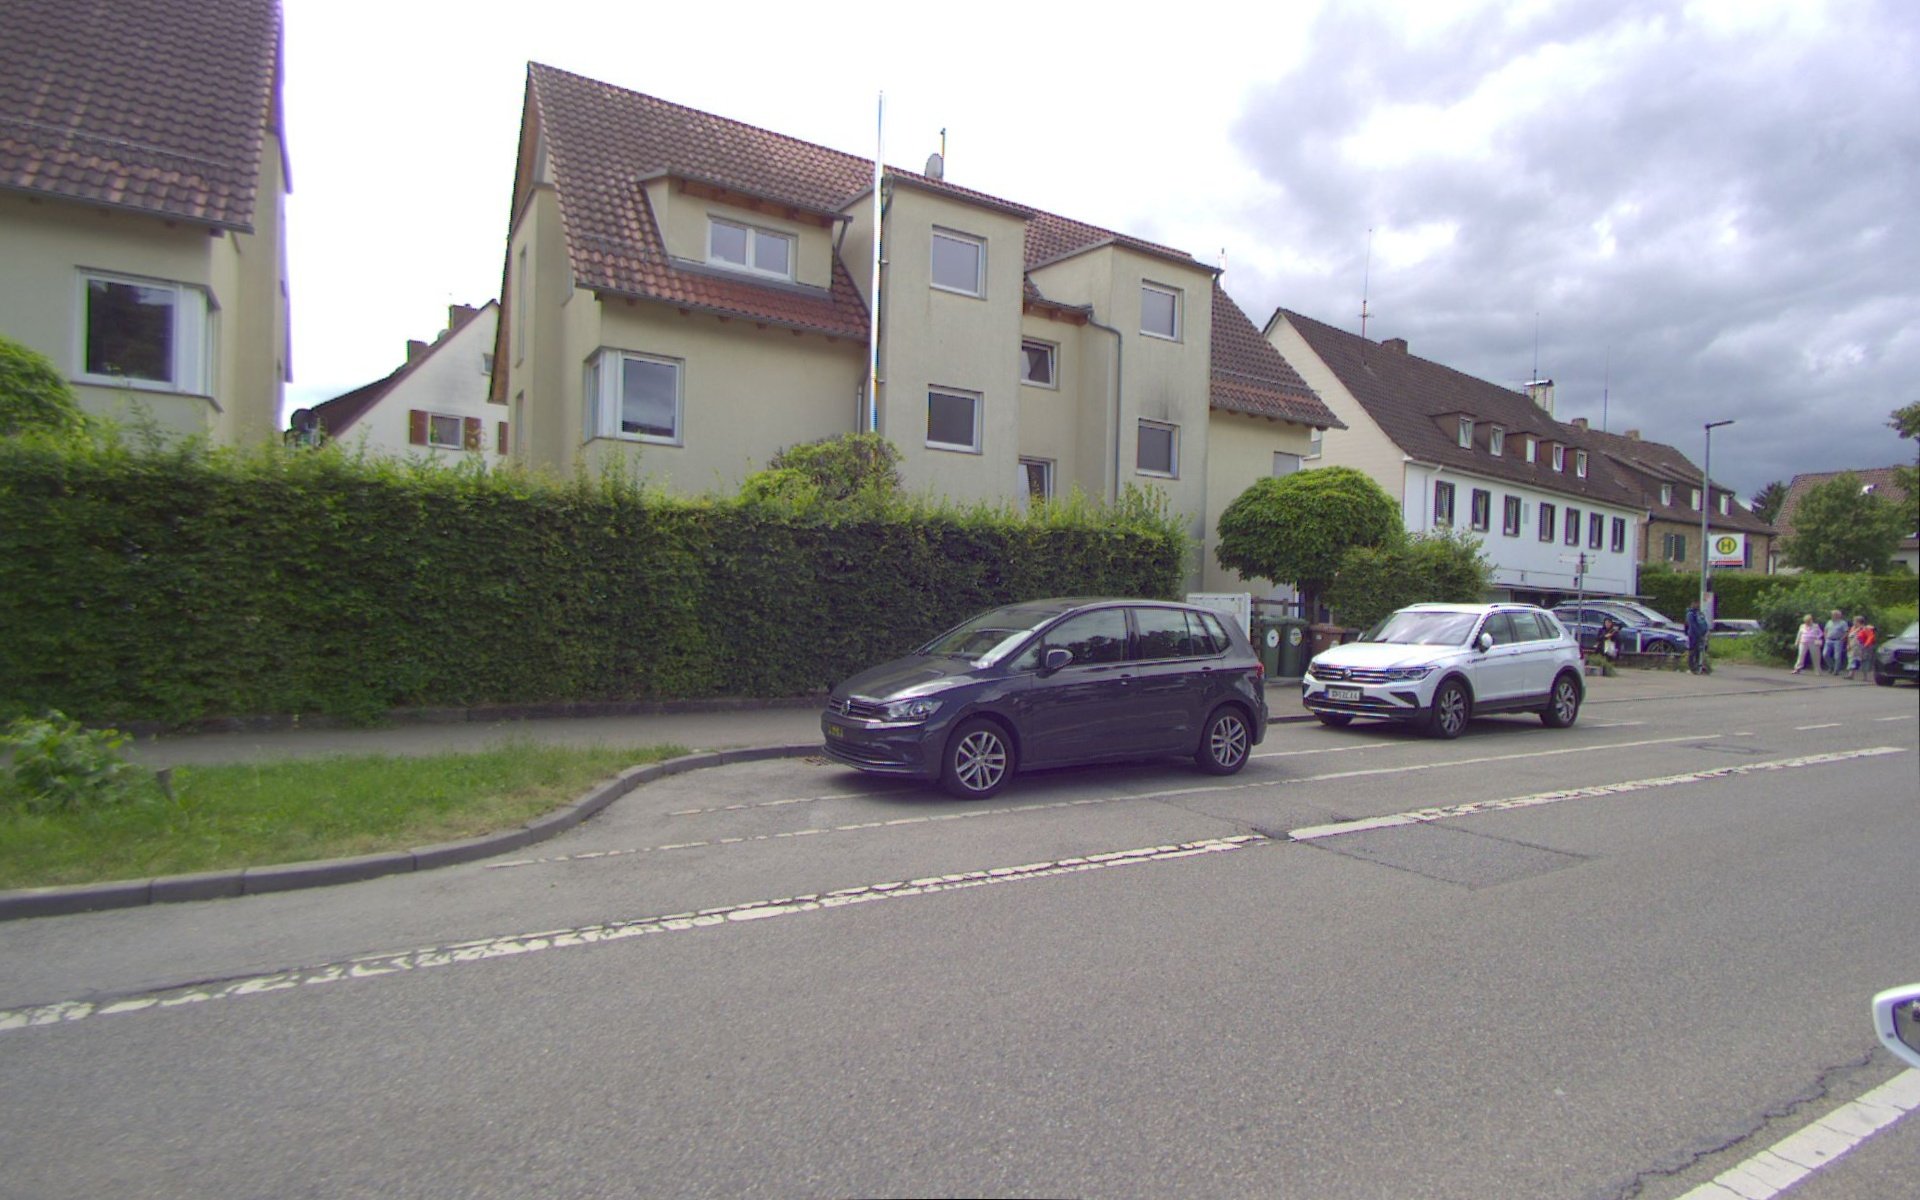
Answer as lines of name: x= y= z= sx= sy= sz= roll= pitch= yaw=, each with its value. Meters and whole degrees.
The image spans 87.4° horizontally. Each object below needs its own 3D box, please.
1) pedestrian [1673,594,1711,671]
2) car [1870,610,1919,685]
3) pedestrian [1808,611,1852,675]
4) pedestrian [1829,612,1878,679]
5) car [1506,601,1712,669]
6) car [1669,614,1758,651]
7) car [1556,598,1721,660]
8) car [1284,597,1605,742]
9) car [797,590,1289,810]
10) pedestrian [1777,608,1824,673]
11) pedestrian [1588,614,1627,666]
pedestrian: x=17.723 y=0.785 z=24.321 sx=0.664 sy=1.830 sz=0.501 roll=1 pitch=0 yaw=-30
car: x=24.516 y=1.177 z=24.920 sx=4.514 sy=1.748 sz=1.714 roll=1 pitch=0 yaw=-32
pedestrian: x=23.588 y=1.144 z=27.244 sx=0.586 sy=1.686 sz=0.781 roll=1 pitch=0 yaw=-37
pedestrian: x=23.143 y=1.156 z=26.023 sx=0.747 sy=1.686 sz=0.781 roll=1 pitch=1 yaw=-37
car: x=17.809 y=0.902 z=27.698 sx=4.464 sy=1.574 sz=2.024 roll=3 pitch=1 yaw=44
car: x=32.299 y=1.378 z=43.096 sx=1.286 sy=1.461 sz=2.807 roll=1 pitch=0 yaw=-35
car: x=21.188 y=0.849 z=31.556 sx=1.841 sy=1.714 sz=3.982 roll=-3 pitch=1 yaw=-19
car: x=6.574 y=0.828 z=13.473 sx=4.537 sy=1.656 sz=1.810 roll=1 pitch=-1 yaw=-33
car: x=0.836 y=0.749 z=8.999 sx=4.224 sy=1.572 sz=1.668 roll=1 pitch=0 yaw=-31
pedestrian: x=22.415 y=1.078 z=26.782 sx=0.873 sy=1.686 sz=0.781 roll=1 pitch=0 yaw=-37
pedestrian: x=16.741 y=1.024 z=25.972 sx=0.697 sy=1.330 sz=0.585 roll=1 pitch=0 yaw=-29
